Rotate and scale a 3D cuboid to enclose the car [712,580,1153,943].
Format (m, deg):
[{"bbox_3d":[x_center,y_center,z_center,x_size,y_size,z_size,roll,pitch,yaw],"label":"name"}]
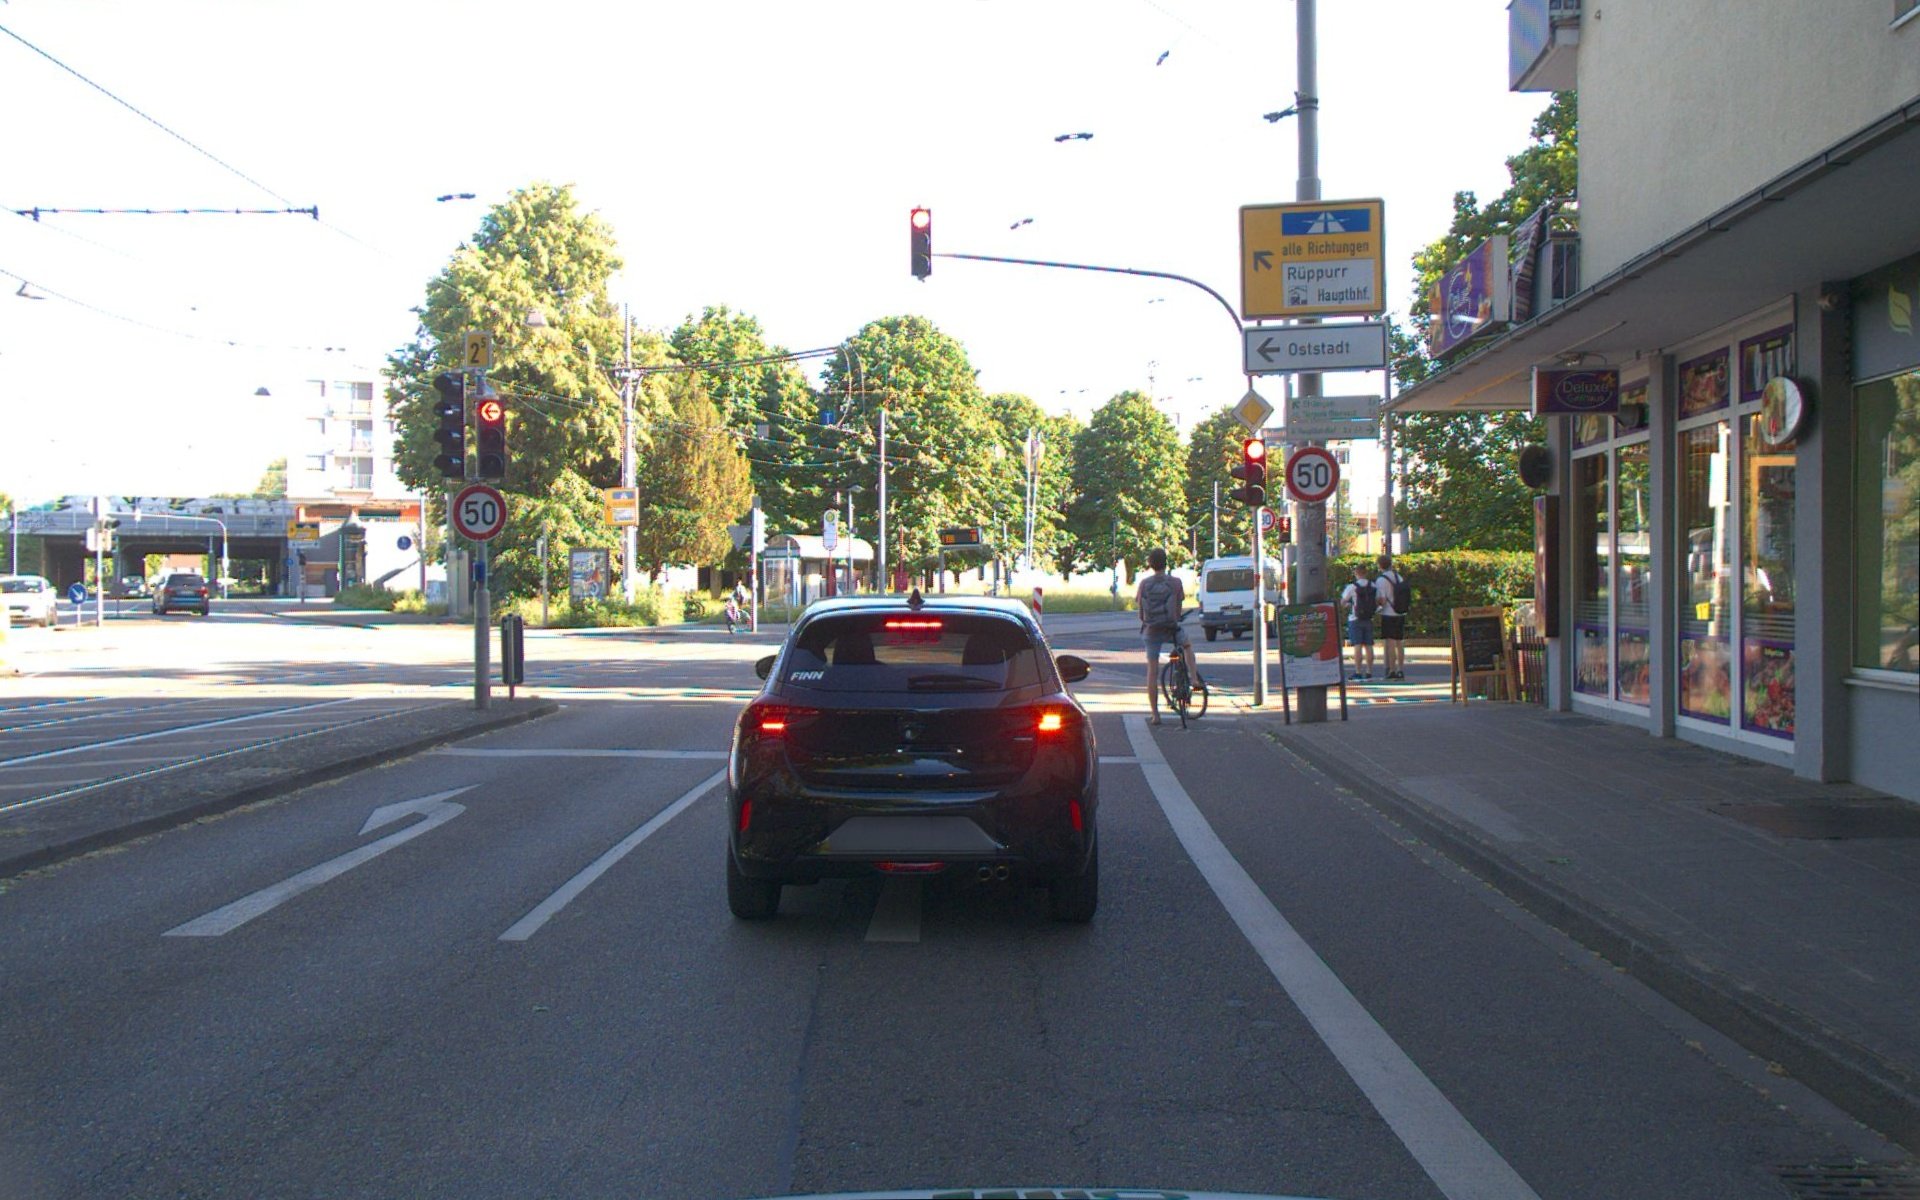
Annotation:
[{"bbox_3d":[-0.140,0.645,8.786,1.803,1.487,3.983,0,1,-1],"label":"car"}]

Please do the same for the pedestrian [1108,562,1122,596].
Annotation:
[{"bbox_3d":[8.606,-1.156,91.702,0.597,1.904,0.515,1,-1,-28],"label":"pedestrian"}]

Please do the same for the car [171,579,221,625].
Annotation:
[{"bbox_3d":[-33.101,0.049,71.650,1.884,1.914,4.808,-1,1,-25],"label":"car"}]

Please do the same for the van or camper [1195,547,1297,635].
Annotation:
[{"bbox_3d":[8.071,-0.231,46.397,1.987,2.351,4.540,1,0,20],"label":"van or camper"}]

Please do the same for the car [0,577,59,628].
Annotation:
[{"bbox_3d":[-31.145,0.072,54.876,1.860,1.613,3.809,1,0,-24],"label":"car"}]

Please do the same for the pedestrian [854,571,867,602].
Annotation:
[{"bbox_3d":[-6.136,-0.818,102.030,0.723,1.904,0.661,1,-1,-7],"label":"pedestrian"}]

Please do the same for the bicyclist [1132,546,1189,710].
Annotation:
[{"bbox_3d":[2.159,0.293,17.767,0.522,1.722,0.568,0,0,16],"label":"bicyclist"}]

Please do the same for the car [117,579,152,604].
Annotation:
[{"bbox_3d":[-55.428,-0.585,111.059,1.860,1.613,3.809,1,0,-24],"label":"car"}]

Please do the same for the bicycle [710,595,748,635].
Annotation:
[{"bbox_3d":[-6.433,0.408,46.143,0.780,1.083,2.184,0,1,-1],"label":"bicycle"}]

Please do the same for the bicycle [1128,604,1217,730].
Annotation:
[{"bbox_3d":[2.327,0.686,17.933,0.737,1.256,2.017,0,1,14],"label":"bicycle"}]

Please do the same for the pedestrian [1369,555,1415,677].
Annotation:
[{"bbox_3d":[6.685,0.240,25.586,0.620,1.852,0.745,1,-1,19],"label":"pedestrian"}]

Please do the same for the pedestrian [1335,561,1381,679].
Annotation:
[{"bbox_3d":[6.180,0.305,25.658,0.620,1.794,0.582,1,-1,19],"label":"pedestrian"}]

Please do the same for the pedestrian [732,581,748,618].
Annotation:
[{"bbox_3d":[-8.971,-0.023,67.375,0.558,1.498,0.666,0,0,0],"label":"pedestrian"}]
